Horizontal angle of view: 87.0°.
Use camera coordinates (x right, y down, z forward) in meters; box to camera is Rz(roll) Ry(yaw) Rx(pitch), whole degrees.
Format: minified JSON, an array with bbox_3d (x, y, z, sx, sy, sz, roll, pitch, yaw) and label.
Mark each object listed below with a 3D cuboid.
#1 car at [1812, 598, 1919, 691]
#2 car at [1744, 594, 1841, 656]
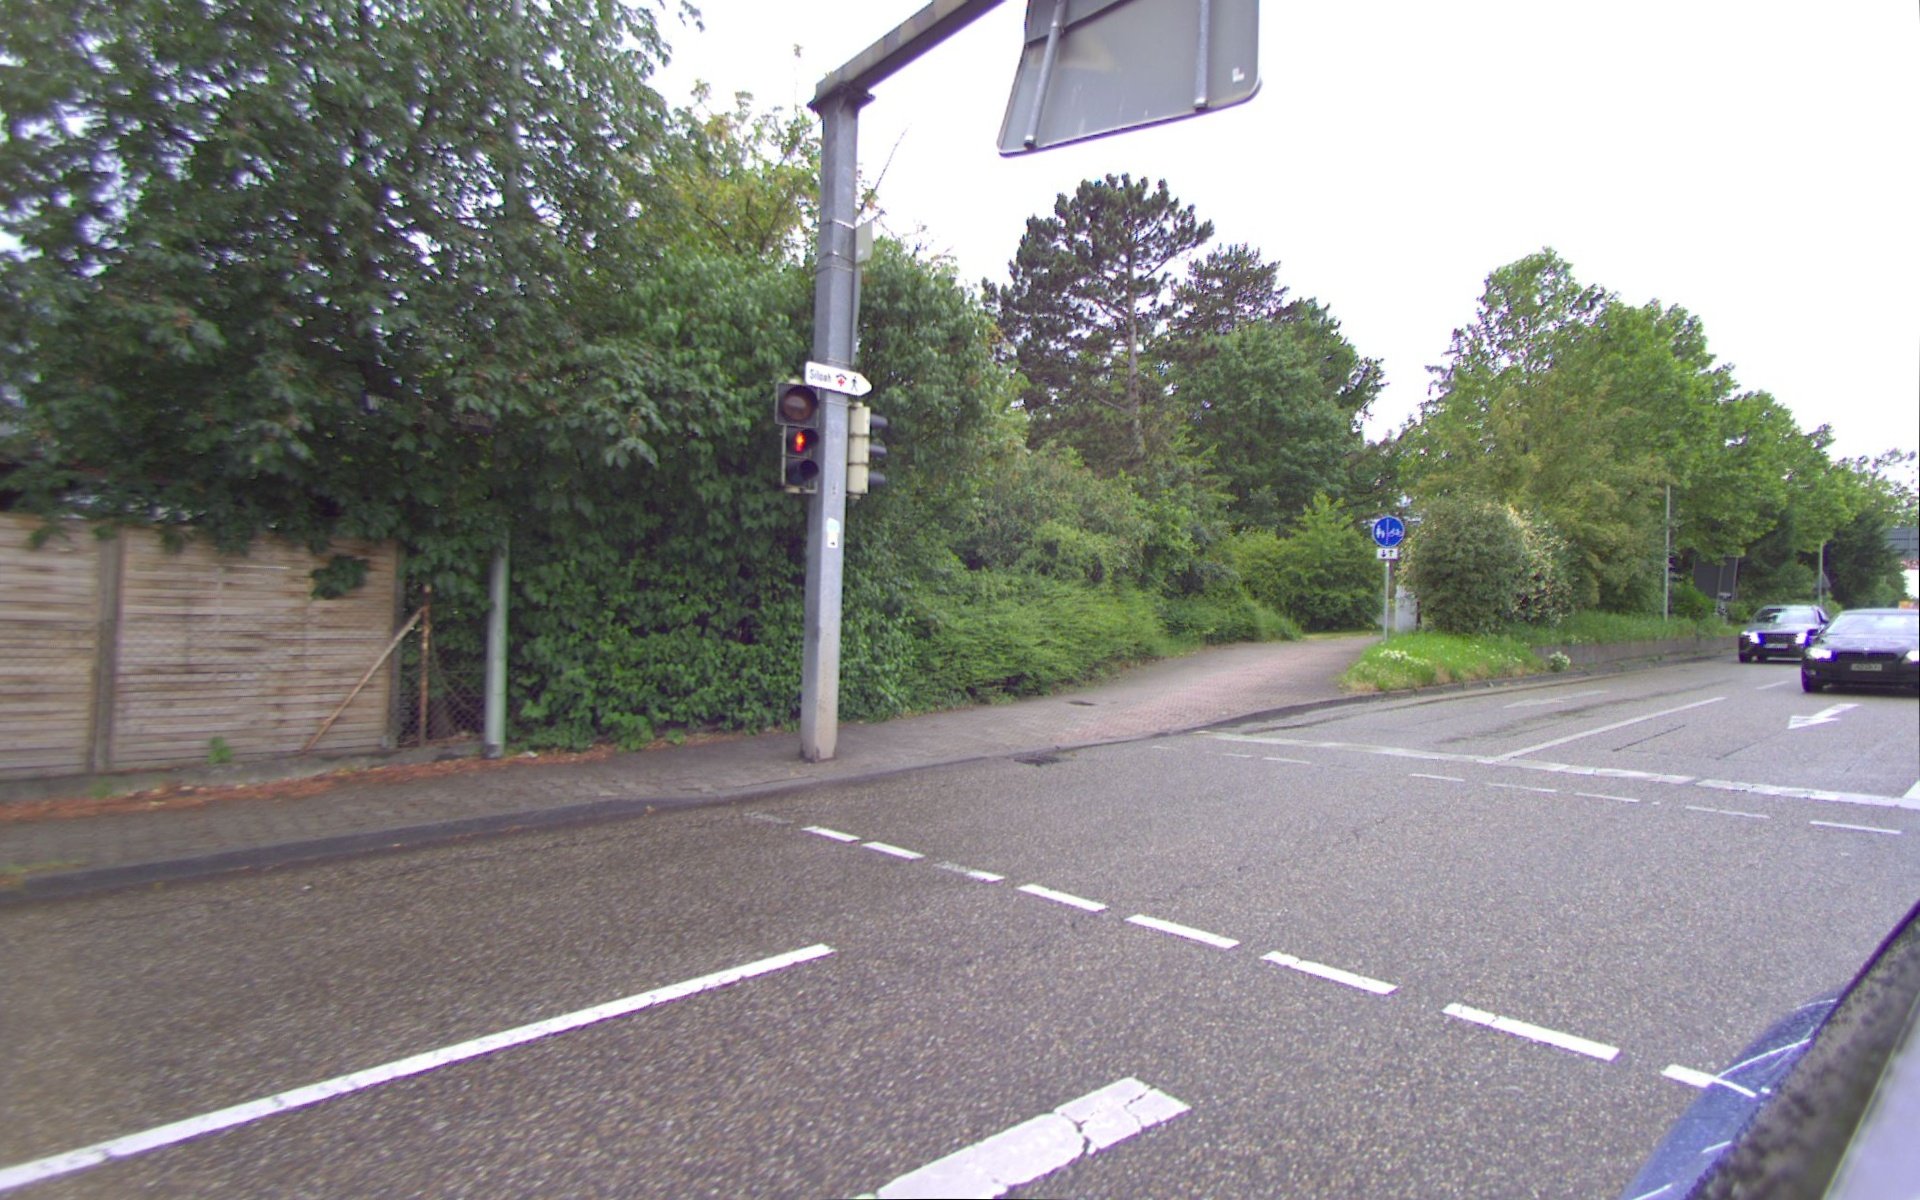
[{"bbox_3d":[16.801,0.716,18.100,4.639,1.478,1.792,0,-1,-43],"label":"car"},{"bbox_3d":[23.955,0.675,29.065,3.778,1.643,1.702,-1,-1,-44],"label":"car"}]
